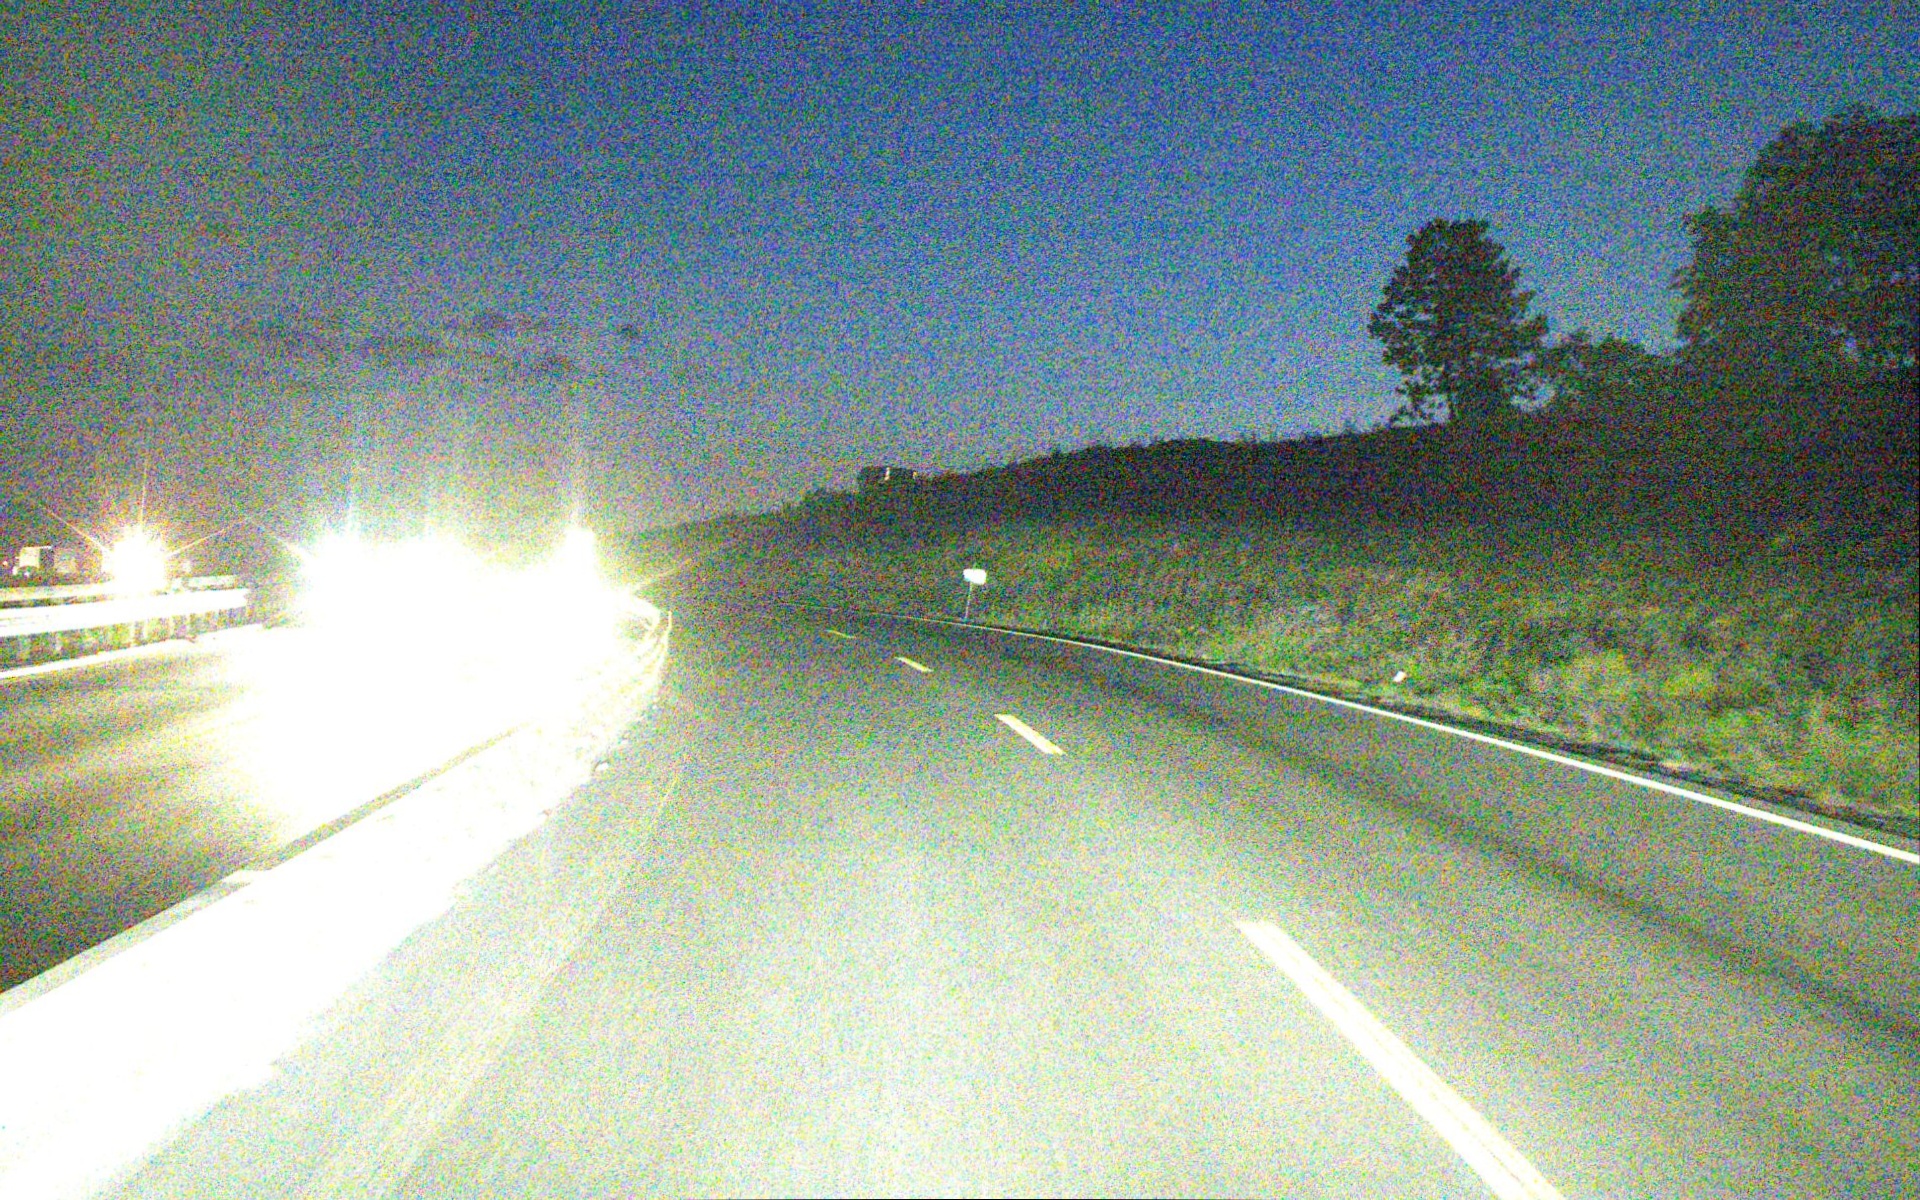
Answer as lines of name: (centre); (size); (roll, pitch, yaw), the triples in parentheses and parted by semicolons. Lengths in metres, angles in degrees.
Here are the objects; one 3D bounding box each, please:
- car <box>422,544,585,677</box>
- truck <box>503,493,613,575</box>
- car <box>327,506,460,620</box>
car: (-5.355, 0.108, 40.714); (1.651, 1.464, 4.001); (-1, 0, -4)
truck: (-23.645, -3.772, 201.470); (4.010, 4.536, 13.958); (-1, 0, -17)
car: (-10.568, -0.682, 64.488); (1.993, 2.007, 5.588); (-1, 0, -5)
